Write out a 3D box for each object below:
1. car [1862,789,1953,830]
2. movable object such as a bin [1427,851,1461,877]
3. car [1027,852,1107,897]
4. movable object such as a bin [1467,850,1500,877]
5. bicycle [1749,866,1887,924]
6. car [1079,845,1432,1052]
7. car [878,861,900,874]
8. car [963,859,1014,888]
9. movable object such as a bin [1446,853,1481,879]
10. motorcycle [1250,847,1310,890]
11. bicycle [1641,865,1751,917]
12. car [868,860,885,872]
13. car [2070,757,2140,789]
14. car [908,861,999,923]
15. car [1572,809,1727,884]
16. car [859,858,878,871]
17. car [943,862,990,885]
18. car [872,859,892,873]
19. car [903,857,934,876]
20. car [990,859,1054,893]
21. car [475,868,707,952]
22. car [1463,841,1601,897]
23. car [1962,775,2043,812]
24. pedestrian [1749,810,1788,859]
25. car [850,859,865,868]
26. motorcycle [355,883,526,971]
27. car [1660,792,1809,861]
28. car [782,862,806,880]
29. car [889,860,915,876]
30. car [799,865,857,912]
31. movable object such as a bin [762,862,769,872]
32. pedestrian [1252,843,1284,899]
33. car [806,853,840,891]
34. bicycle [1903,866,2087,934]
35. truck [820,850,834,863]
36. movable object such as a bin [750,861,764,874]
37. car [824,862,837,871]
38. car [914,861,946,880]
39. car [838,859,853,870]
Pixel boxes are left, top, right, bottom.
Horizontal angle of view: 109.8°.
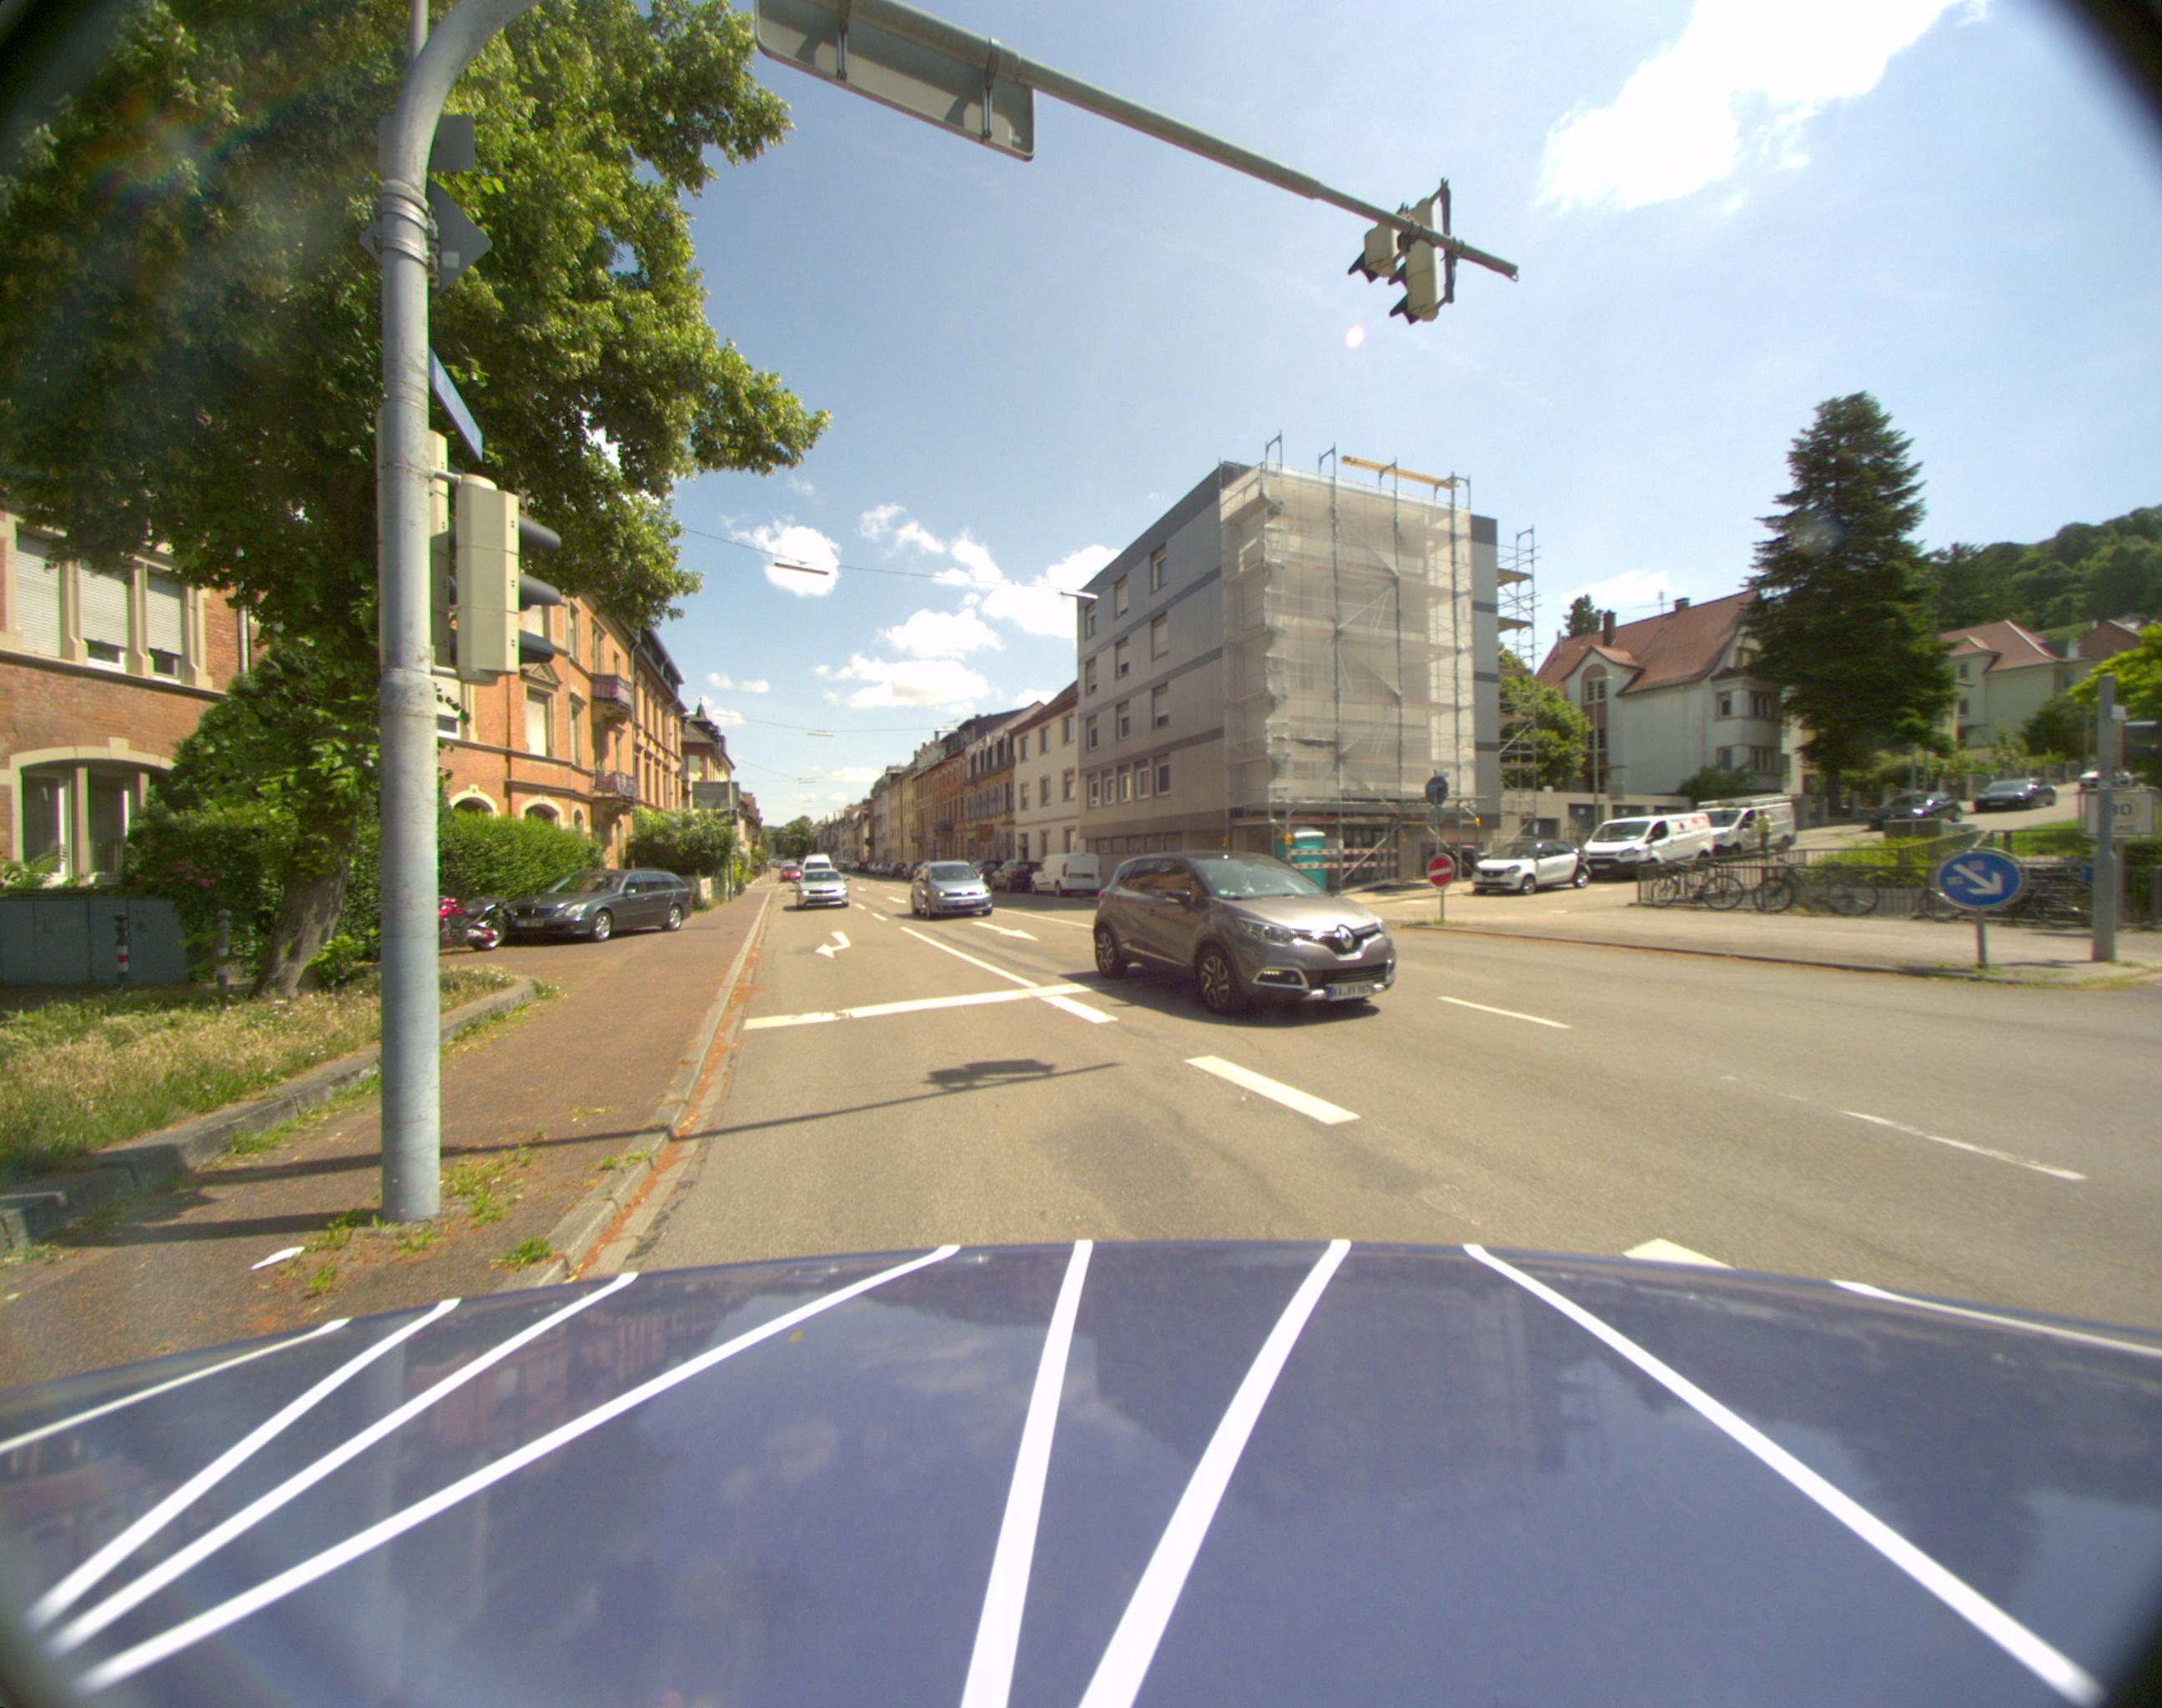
[{"bbox_3d":[36.050,-1.944,33.140,3.743,1.439,1.754,-6,2,-28],"label":"car"},{"bbox_3d":[13.712,0.383,28.716,0.741,0.921,0.825,-3,1,-20],"label":"movable object such as a bin"},{"bbox_3d":[-0.713,0.848,33.499,1.922,1.815,4.779,0,0,-23],"label":"car"},{"bbox_3d":[14.275,0.336,26.956,0.741,0.921,0.702,-3,1,-20],"label":"movable object such as a bin"},{"bbox_3d":[13.268,0.709,13.742,0.399,0.961,1.742,-2,0,-26],"label":"bicycle"},{"bbox_3d":[1.566,0.786,8.341,1.761,1.622,3.993,-2,0,-22],"label":"car"},{"bbox_3d":[-22.323,1.528,88.179,1.913,1.443,4.677,3,-1,-21],"label":"car"},{"bbox_3d":[-5.497,1.090,44.704,1.893,1.631,4.809,0,0,-21],"label":"car"},{"bbox_3d":[13.963,0.436,27.750,0.741,0.921,0.825,-3,1,-20],"label":"movable object such as a bin"},{"bbox_3d":[7.170,0.510,27.361,2.039,1.463,0.883,-2,1,16],"label":"motorcycle"},{"bbox_3d":[12.430,0.722,15.418,0.399,0.961,1.715,-2,0,-26],"label":"bicycle"},{"bbox_3d":[-26.599,1.551,98.791,1.752,1.402,3.908,3,-1,-20],"label":"car"},{"bbox_3d":[57.341,-4.559,42.539,3.743,1.439,1.754,-6,2,-28],"label":"car"},{"bbox_3d":[-3.766,0.999,21.878,1.761,1.559,3.993,-2,0,-21],"label":"car"},{"bbox_3d":[18.794,-0.282,25.090,5.017,2.002,1.996,-5,2,-27],"label":"car"},{"bbox_3d":[-29.282,1.454,104.795,1.750,1.578,3.951,2,-1,-6],"label":"car"},{"bbox_3d":[-7.824,1.282,51.391,1.873,1.398,4.828,3,-1,-24],"label":"car"},{"bbox_3d":[-24.711,1.493,94.113,1.873,1.542,4.305,3,-1,-22],"label":"car"},{"bbox_3d":[-14.794,1.141,68.987,1.873,1.618,4.491,3,-1,-23],"label":"car"},{"bbox_3d":[-3.090,1.053,38.764,1.893,1.631,4.654,0,0,-23],"label":"car"},{"bbox_3d":[-10.371,1.102,16.698,1.839,1.539,5.157,-1,-1,-1],"label":"car"},{"bbox_3d":[13.675,0.423,23.035,3.744,1.439,1.754,-3,1,-25],"label":"car"},{"bbox_3d":[45.058,-2.961,37.156,3.743,1.439,1.754,-6,2,-28],"label":"car"},{"bbox_3d":[24.459,-0.692,27.034,0.712,1.704,0.742,-2,1,-19],"label":"pedestrian"},{"bbox_3d":[-37.448,1.576,127.140,1.753,1.402,4.096,3,-1,-24],"label":"car"},{"bbox_3d":[-10.633,1.160,12.765,0.932,1.294,2.281,-1,-1,0],"label":"motorcycle"},{"bbox_3d":[24.449,-1.021,28.431,5.016,2.165,2.071,-5,2,-22],"label":"car"},{"bbox_3d":[-26.214,1.560,69.287,1.765,1.470,3.776,-4,1,-24],"label":"car"},{"bbox_3d":[-18.814,1.449,79.676,1.873,1.542,4.492,3,-1,-23],"label":"car"},{"bbox_3d":[-9.591,1.230,28.641,1.908,1.489,4.479,-2,0,-20],"label":"car"},{"bbox_3d":[-39.986,1.616,96.271,0.754,1.234,0.875,-1,1,-22],"label":"movable object such as a bin"},{"bbox_3d":[6.272,0.553,25.483,0.706,1.822,0.792,-2,1,39],"label":"pedestrian"},{"bbox_3d":[-16.555,1.069,48.873,1.908,2.261,5.663,-2,0,-18],"label":"car"},{"bbox_3d":[14.131,0.679,11.813,0.399,0.961,1.780,-2,0,-26],"label":"bicycle"},{"bbox_3d":[-57.680,0.592,172.328,2.327,2.725,8.053,-1,0,-22],"label":"truck"},{"bbox_3d":[-34.707,1.453,81.399,1.287,1.388,1.362,-1,0,-20],"label":"movable object such as a bin"},{"bbox_3d":[-44.335,2.155,134.383,1.768,1.485,4.237,-1,0,-22],"label":"car"},{"bbox_3d":[-12.828,1.372,64.326,1.873,1.417,4.323,3,-1,-22],"label":"car"},{"bbox_3d":[-32.807,1.450,105.923,1.709,1.565,4.304,-1,0,-21],"label":"car"}]
